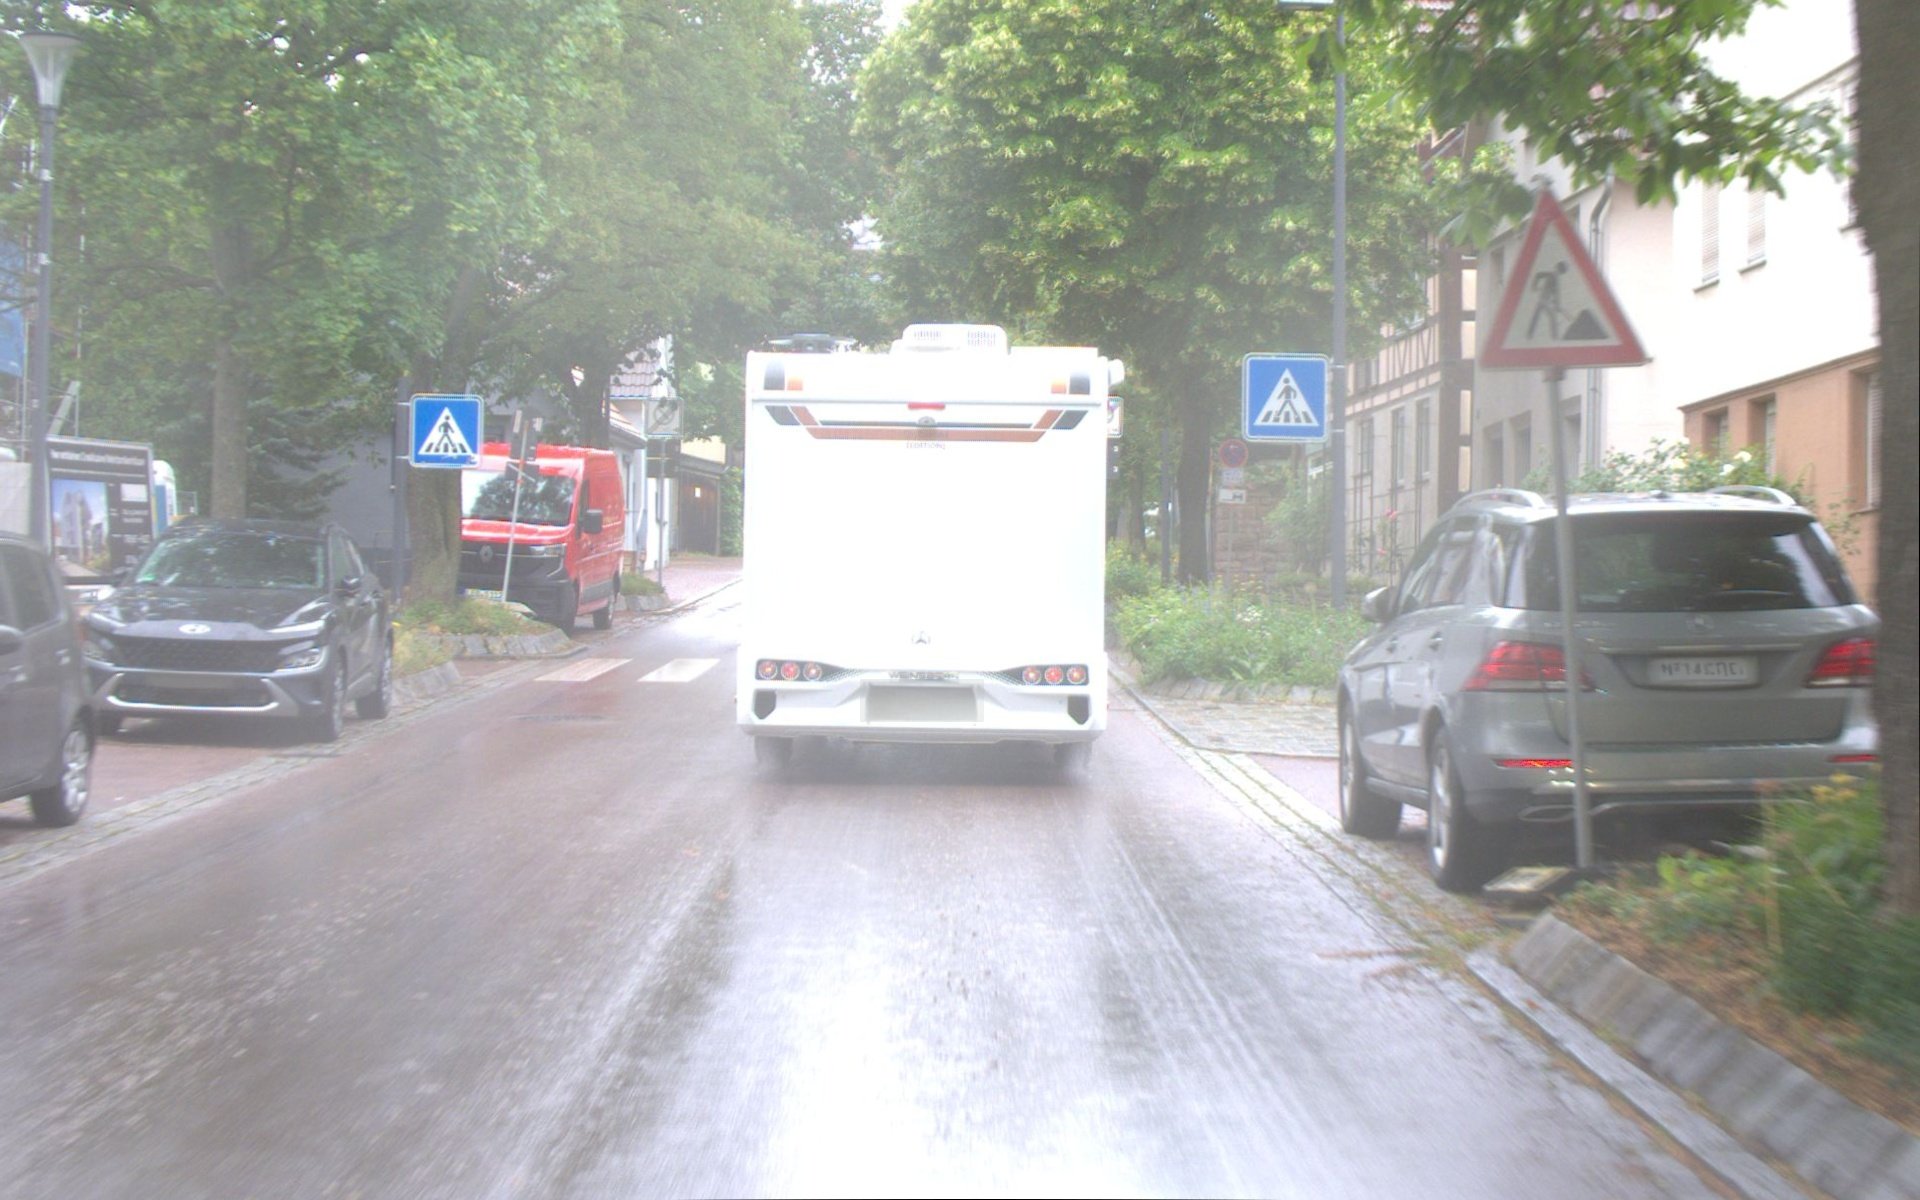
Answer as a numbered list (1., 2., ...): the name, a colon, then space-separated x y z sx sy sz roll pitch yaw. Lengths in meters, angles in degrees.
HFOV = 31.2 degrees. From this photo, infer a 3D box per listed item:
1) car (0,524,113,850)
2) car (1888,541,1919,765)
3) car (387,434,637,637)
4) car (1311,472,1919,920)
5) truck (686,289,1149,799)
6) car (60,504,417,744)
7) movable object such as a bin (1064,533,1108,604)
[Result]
1. car: -5.358 0.399 16.208 1.647 1.528 3.866 2 1 1
2. car: 7.792 0.323 21.741 3.364 1.425 1.631 -1 1 -3
3. car: -5.850 -0.901 45.672 2.303 2.474 5.785 1 2 2
4. car: 2.905 0.353 16.259 1.914 1.786 4.489 1 1 -1
5. truck: -0.277 -0.389 23.607 2.694 2.975 6.237 1 1 0
6. car: -5.238 0.112 25.444 1.771 1.548 4.000 3 1 -1
7. movable object such as a bin: 2.195 -0.548 59.860 0.721 1.208 0.727 1 1 0
